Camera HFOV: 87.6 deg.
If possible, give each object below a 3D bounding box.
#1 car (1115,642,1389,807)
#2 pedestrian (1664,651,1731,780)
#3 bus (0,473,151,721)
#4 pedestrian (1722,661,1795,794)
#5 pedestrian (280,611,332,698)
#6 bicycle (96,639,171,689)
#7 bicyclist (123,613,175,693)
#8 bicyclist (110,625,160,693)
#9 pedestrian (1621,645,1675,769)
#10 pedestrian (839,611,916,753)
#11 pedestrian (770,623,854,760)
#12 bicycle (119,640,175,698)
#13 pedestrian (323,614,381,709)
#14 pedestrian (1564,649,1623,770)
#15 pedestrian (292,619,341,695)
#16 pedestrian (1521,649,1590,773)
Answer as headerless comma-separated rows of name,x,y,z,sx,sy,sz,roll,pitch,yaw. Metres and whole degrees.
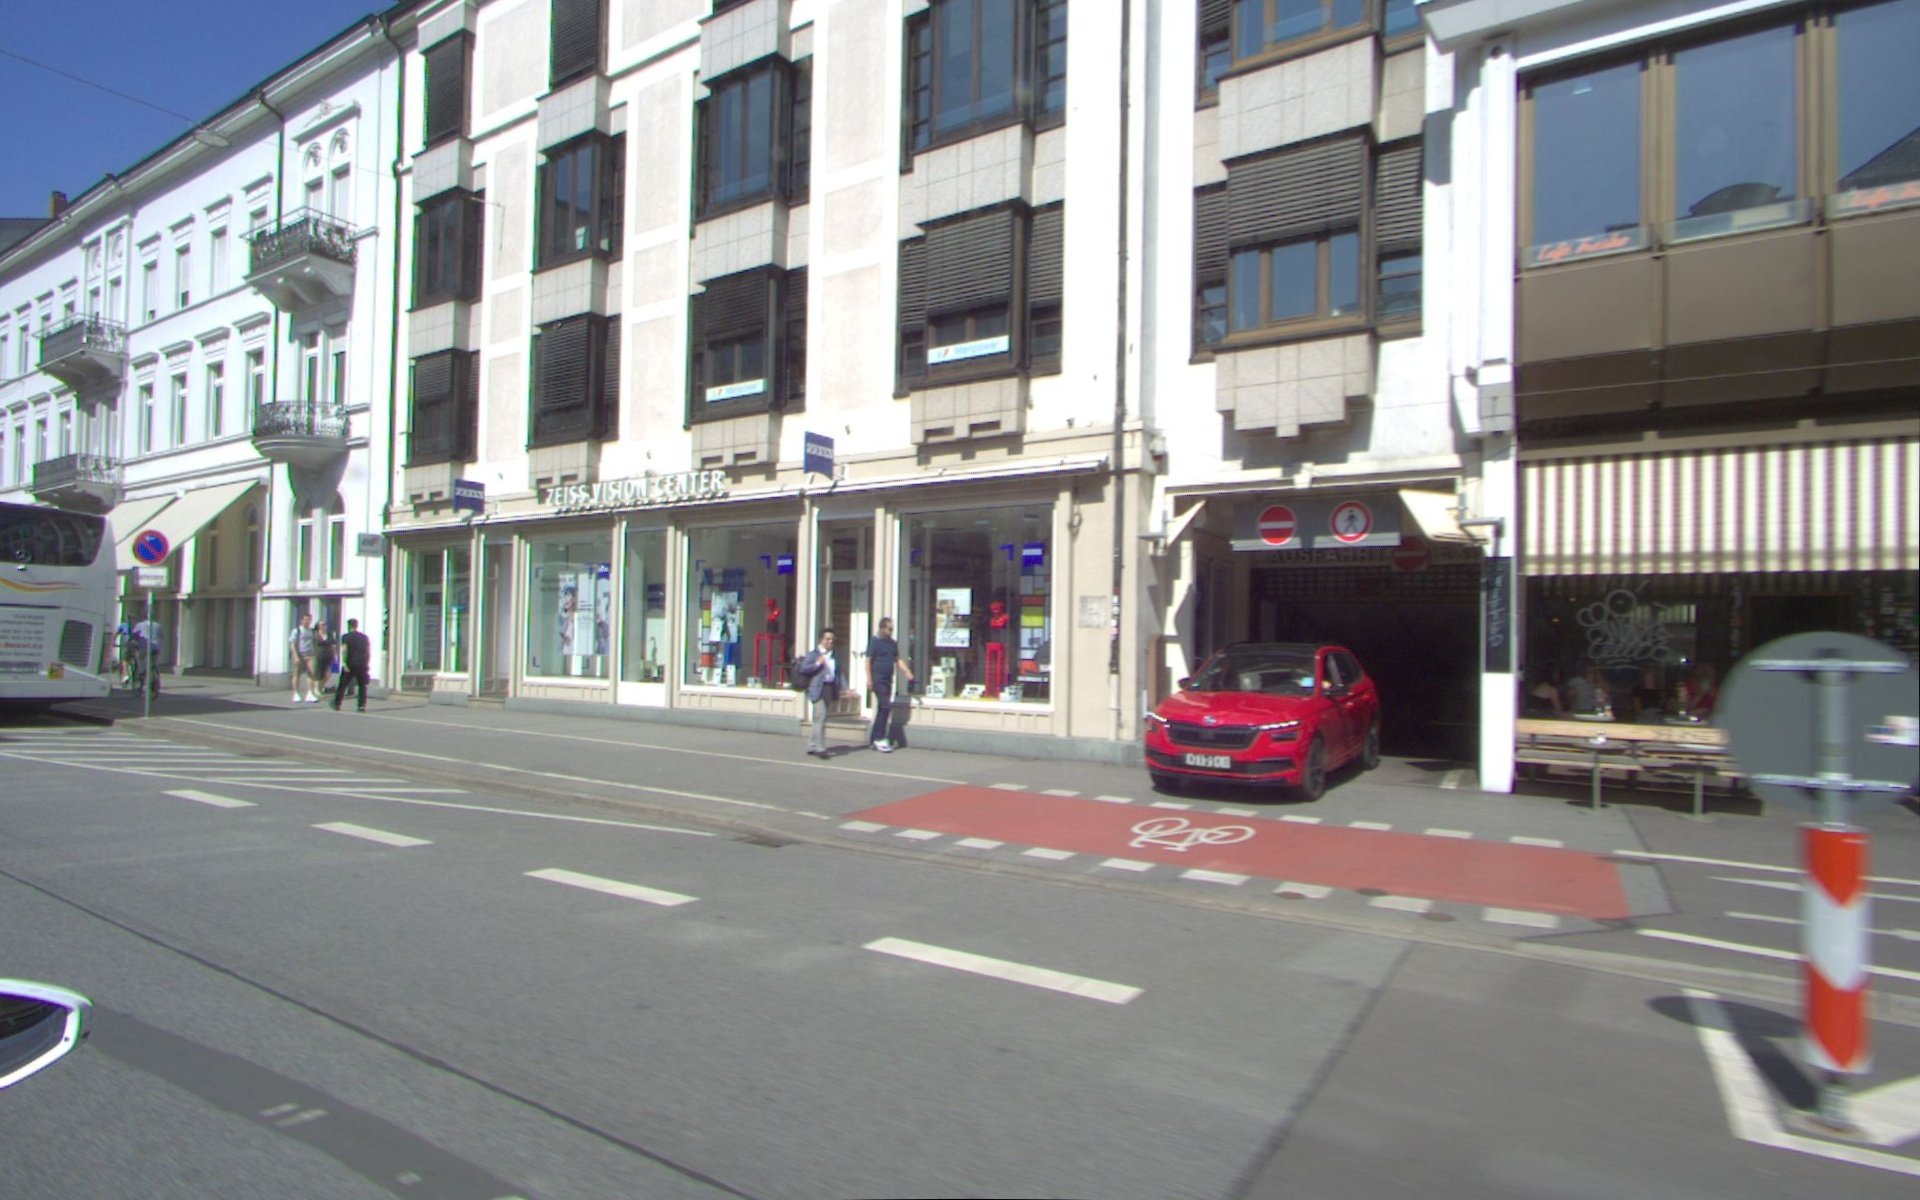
car,3.482,1.267,11.414,1.817,1.513,4.036,-3,-4,34
pedestrian,8.346,1.280,11.354,0.529,1.385,0.876,0,-2,32
bus,-19.732,-0.002,18.974,12.247,3.787,2.879,0,-4,32
pedestrian,8.824,1.382,11.086,0.529,1.385,0.834,0,-2,32
pedestrian,-13.807,1.148,21.134,1.007,1.800,0.572,-2,-3,36
bicycle,-19.535,1.488,23.652,2.318,1.113,0.619,0,-3,32
bicyclist,-16.958,1.097,20.948,0.826,1.646,0.691,0,-2,41
bicyclist,-19.455,1.385,23.606,0.856,1.548,0.619,0,-2,32
pedestrian,7.989,1.219,11.647,0.471,1.385,0.760,0,-2,32
pedestrian,-1.138,1.107,13.772,0.826,1.873,0.691,-2,-3,42
pedestrian,-1.930,1.162,13.069,0.826,1.707,0.691,0,-2,42
bicycle,-17.064,1.433,21.008,1.780,1.134,0.592,0,-2,41
pedestrian,-11.418,1.150,18.807,0.824,1.741,0.618,-1,-2,36
pedestrian,7.599,1.283,12.026,0.576,1.385,0.743,0,-2,32
pedestrian,-14.201,1.247,22.097,0.811,1.637,0.643,-2,-3,36
pedestrian,7.003,1.280,11.771,0.679,1.385,0.534,0,-2,34
